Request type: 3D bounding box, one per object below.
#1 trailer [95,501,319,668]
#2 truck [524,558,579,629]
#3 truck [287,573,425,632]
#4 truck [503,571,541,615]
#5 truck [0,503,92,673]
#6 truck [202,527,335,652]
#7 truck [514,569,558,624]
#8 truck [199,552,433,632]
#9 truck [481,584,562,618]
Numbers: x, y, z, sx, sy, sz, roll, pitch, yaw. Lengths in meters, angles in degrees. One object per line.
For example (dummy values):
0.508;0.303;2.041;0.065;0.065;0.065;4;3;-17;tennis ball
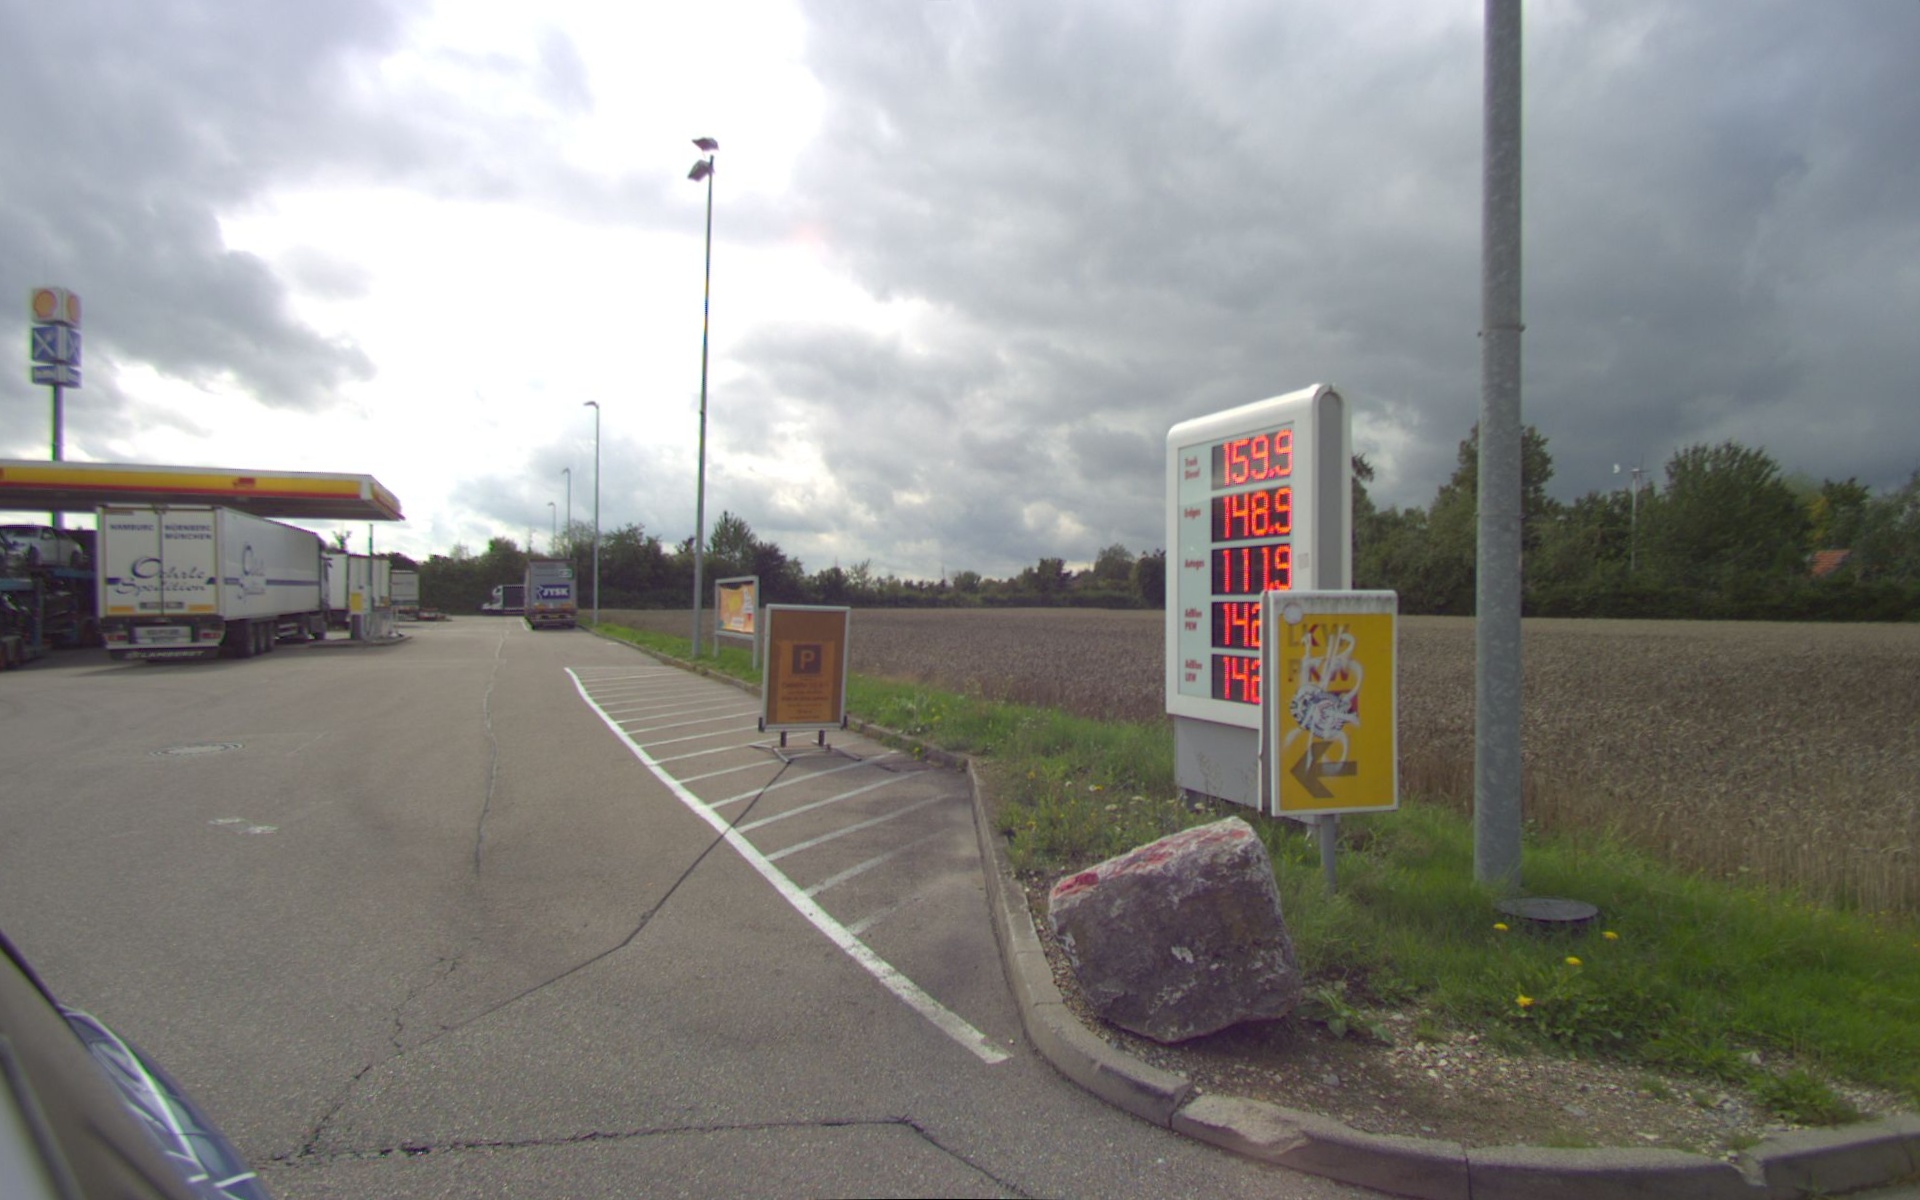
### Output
-22.327;-0.359;30.970;2.665;4.055;12.890;-1;0;-24;trailer
-25.374;-0.290;63.210;2.775;3.923;15.512;1;-1;-21;truck
-44.970;0.247;75.202;11.511;4.142;2.968;-1;0;26;truck
-41.439;-0.567;95.949;2.775;3.923;12.851;1;-1;-21;truck
-25.203;-0.277;25.615;2.705;3.953;13.298;1;-1;-31;truck
-24.868;-0.326;36.756;2.665;4.055;7.193;-1;0;-24;truck
-33.386;-0.204;80.106;2.775;3.923;15.512;1;-1;-21;truck
-35.952;-0.433;56.262;14.646;4.143;2.942;0;-1;22;truck
-49.514;0.125;114.453;7.927;3.684;2.831;1;-1;-11;truck
